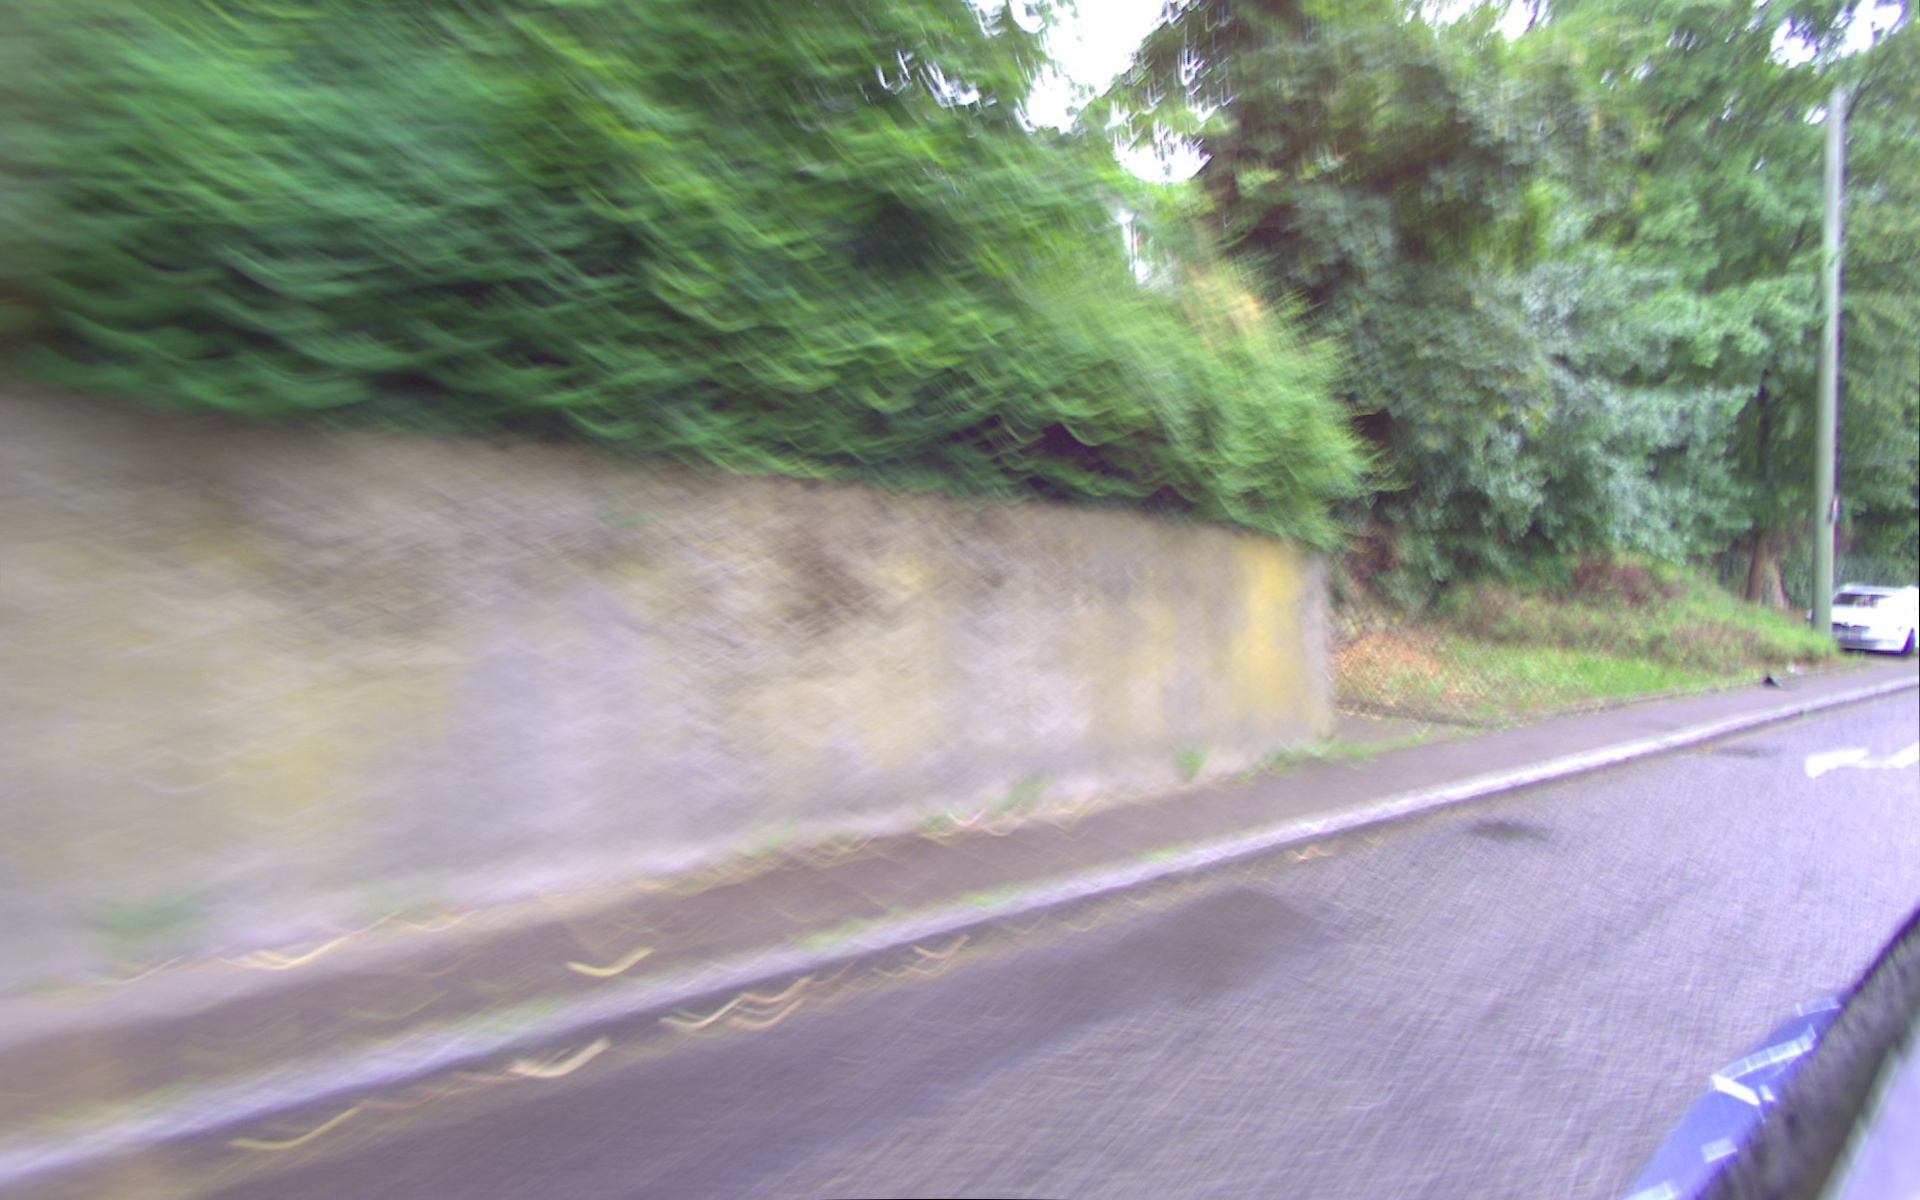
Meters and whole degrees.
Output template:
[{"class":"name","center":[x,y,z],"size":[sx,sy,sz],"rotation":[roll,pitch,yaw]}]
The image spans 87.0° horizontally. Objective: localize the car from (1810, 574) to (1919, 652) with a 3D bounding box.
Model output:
[{"class":"car","center":[21.018,0.243,22.828],"size":[4.651,1.495,1.745],"rotation":[0,4,-37]}]
